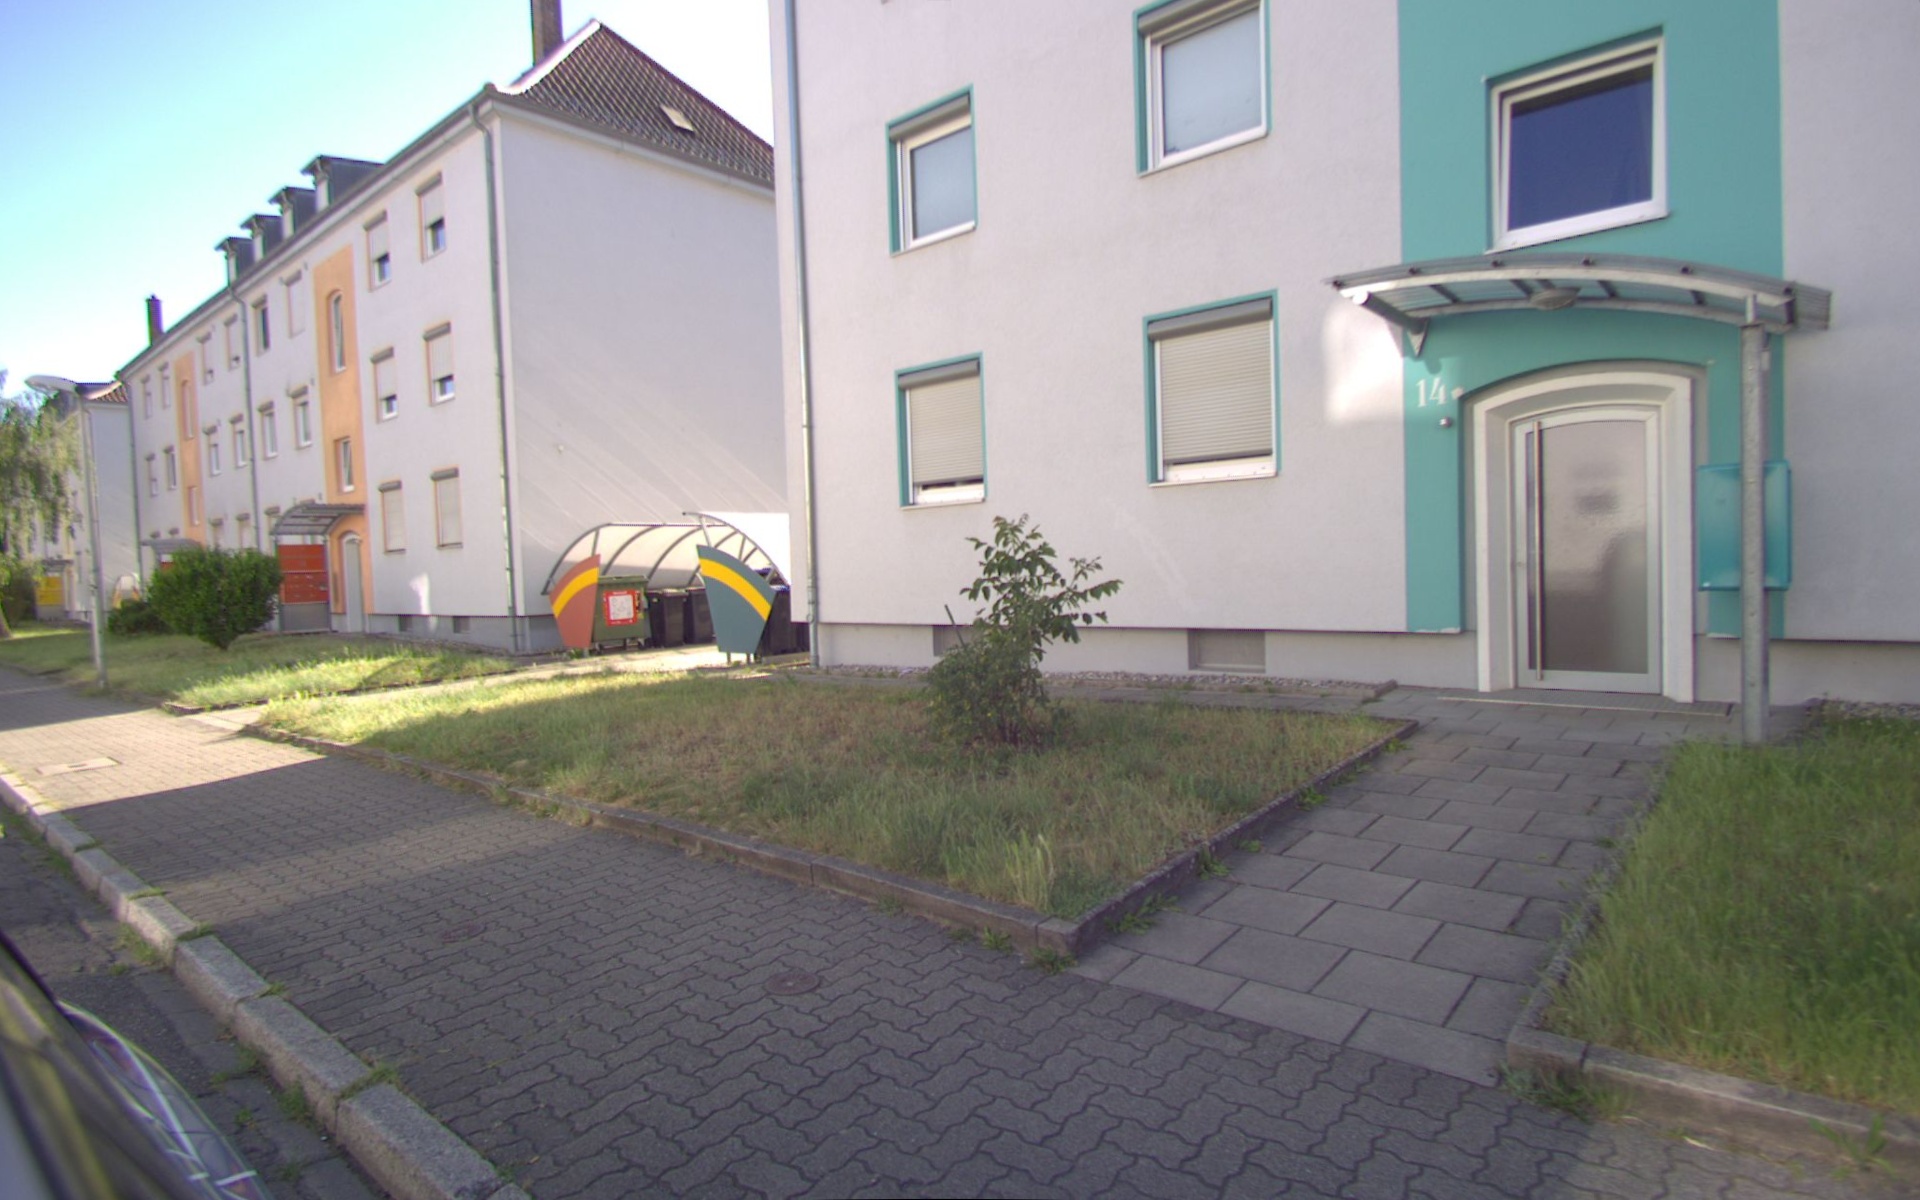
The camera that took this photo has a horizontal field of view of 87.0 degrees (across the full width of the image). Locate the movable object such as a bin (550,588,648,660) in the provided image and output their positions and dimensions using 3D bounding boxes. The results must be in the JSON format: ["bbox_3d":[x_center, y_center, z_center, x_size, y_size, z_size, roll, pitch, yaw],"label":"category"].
[{"bbox_3d":[-6.328,0.406,17.783,0.909,1.177,1.300,-2,1,40],"label":"movable object such as a bin"}]

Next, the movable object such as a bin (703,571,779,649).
[{"bbox_3d":[-4.336,0.196,20.043,0.946,1.452,1.048,-1,2,40],"label":"movable object such as a bin"}]

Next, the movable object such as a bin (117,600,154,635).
[{"bbox_3d":[-35.642,0.761,43.757,0.812,1.416,1.073,-2,2,42],"label":"movable object such as a bin"}]

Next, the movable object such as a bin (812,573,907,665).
[{"bbox_3d":[-1.567,0.276,15.884,0.903,1.366,1.241,-2,1,30],"label":"movable object such as a bin"}]
